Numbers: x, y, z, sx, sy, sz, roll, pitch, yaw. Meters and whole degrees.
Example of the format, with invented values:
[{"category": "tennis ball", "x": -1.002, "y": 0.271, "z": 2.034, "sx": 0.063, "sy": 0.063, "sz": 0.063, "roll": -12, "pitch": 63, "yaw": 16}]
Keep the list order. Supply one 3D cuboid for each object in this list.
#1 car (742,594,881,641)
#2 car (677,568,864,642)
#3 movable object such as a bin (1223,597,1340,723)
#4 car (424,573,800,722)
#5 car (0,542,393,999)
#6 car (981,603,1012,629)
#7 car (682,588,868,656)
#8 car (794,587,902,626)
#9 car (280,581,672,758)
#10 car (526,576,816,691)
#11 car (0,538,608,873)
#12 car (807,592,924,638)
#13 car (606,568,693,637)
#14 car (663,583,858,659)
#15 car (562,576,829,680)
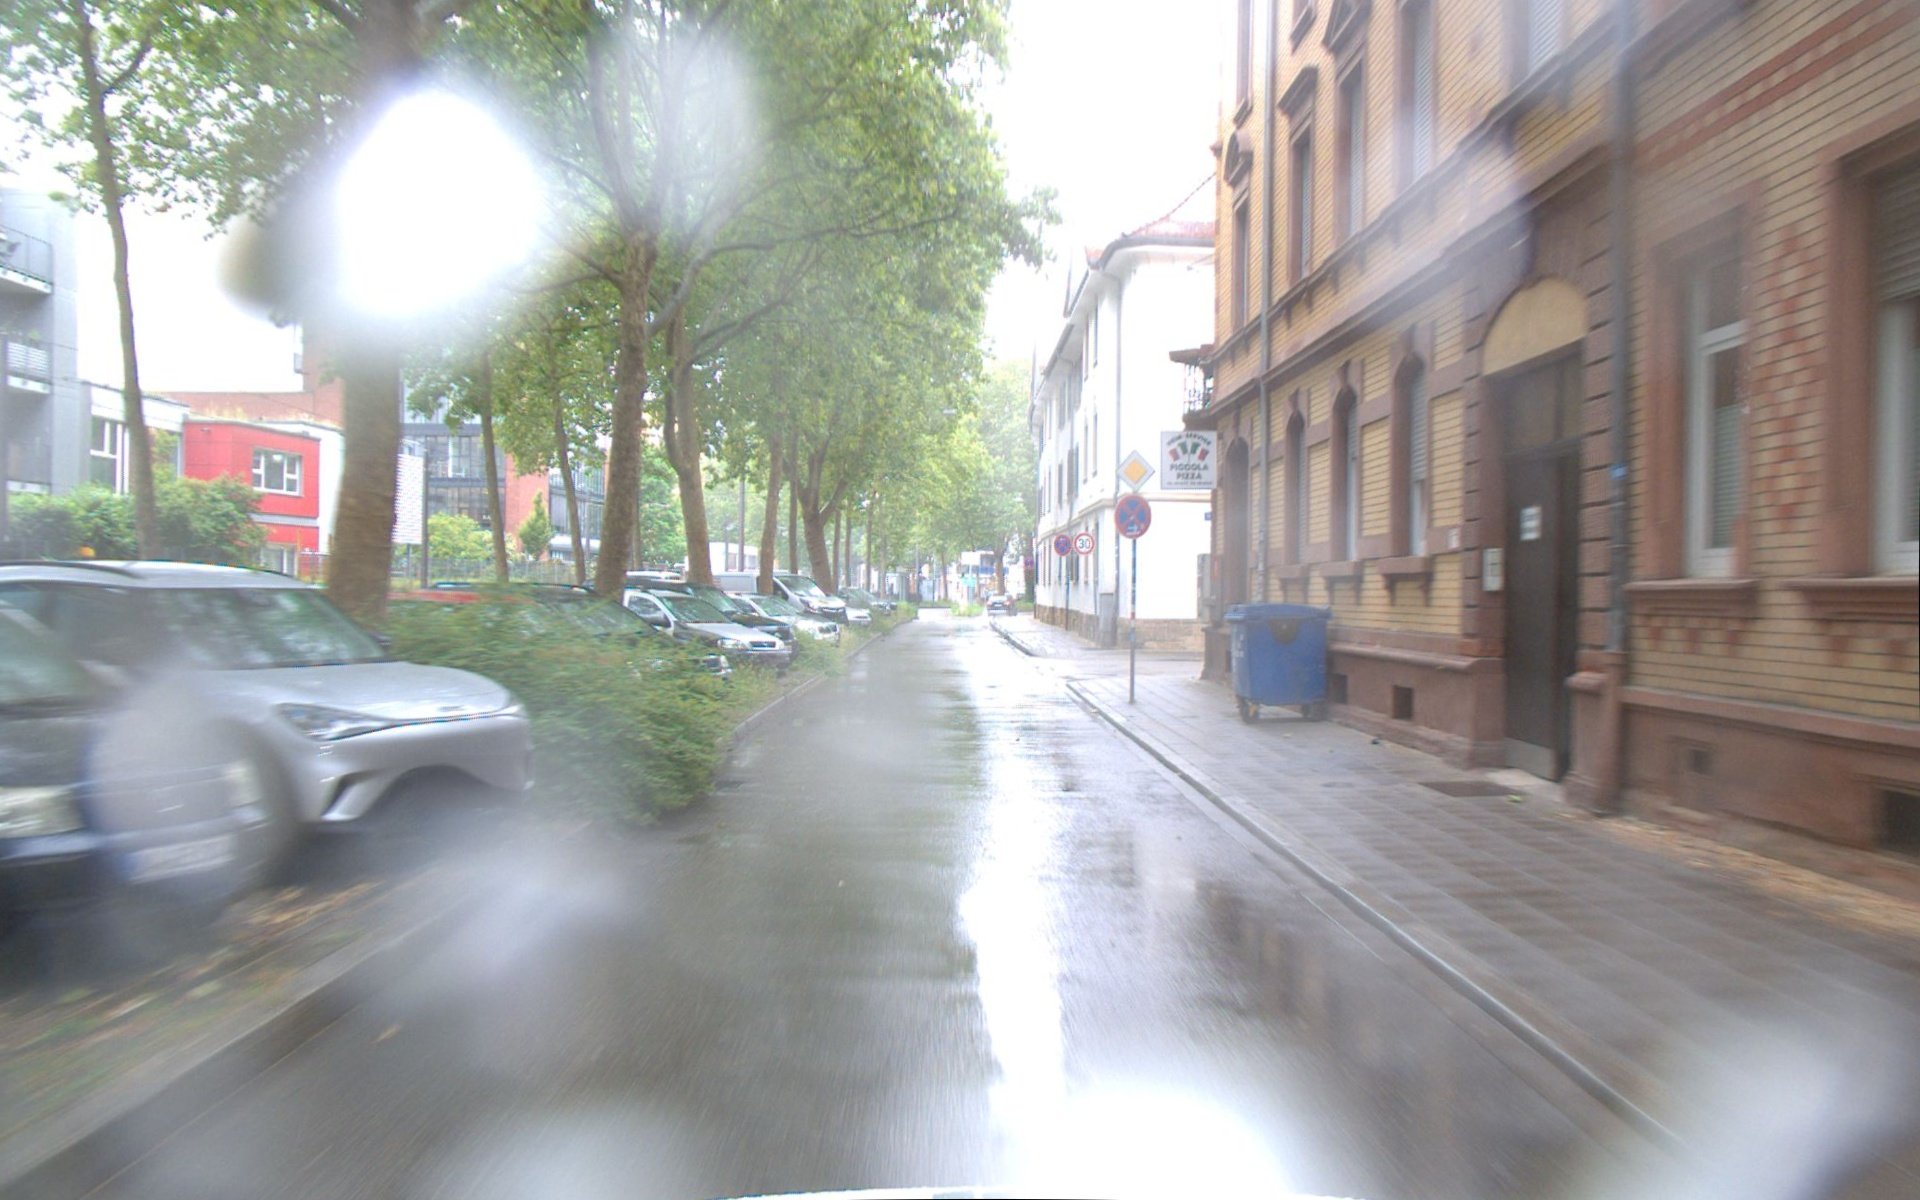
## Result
[{"category": "car", "x": -4.989, "y": 0.595, "z": 55.406, "sx": 4.461, "sy": 1.508, "sz": 1.772, "roll": -1, "pitch": 0, "yaw": 30}, {"category": "car", "x": -5.410, "y": 0.154, "z": 46.984, "sx": 5.020, "sy": 2.012, "sz": 2.099, "roll": -1, "pitch": 0, "yaw": 30}, {"category": "movable object such as a bin", "x": 3.685, "y": 0.665, "z": 19.079, "sx": 1.000, "sy": 1.324, "sz": 1.367, "roll": -3, "pitch": 1, "yaw": -1}, {"category": "car", "x": -4.089, "y": 0.482, "z": 19.343, "sx": 4.135, "sy": 1.505, "sz": 1.742, "roll": 2, "pitch": 1, "yaw": 27}, {"category": "car", "x": -4.274, "y": 0.547, "z": 6.788, "sx": 3.427, "sy": 1.493, "sz": 1.643, "roll": 0, "pitch": 1, "yaw": 21}, {"category": "car", "x": 2.482, "y": 1.083, "z": 113.038, "sx": 1.953, "sy": 1.668, "sz": 3.999, "roll": 1, "pitch": 0, "yaw": -1}, {"category": "car", "x": -4.488, "y": 0.502, "z": 40.056, "sx": 4.218, "sy": 1.462, "sz": 1.746, "roll": 2, "pitch": 1, "yaw": 26}, {"category": "car", "x": -4.935, "y": 0.276, "z": 72.636, "sx": 4.371, "sy": 1.625, "sz": 1.922, "roll": 1, "pitch": 1, "yaw": 26}, {"category": "car", "x": -4.812, "y": 0.599, "z": 16.368, "sx": 3.574, "sy": 1.505, "sz": 1.740, "roll": 2, "pitch": 1, "yaw": 30}, {"category": "car", "x": -4.598, "y": 0.527, "z": 26.160, "sx": 4.322, "sy": 1.674, "sz": 1.868, "roll": -1, "pitch": 0, "yaw": 31}, {"category": "car", "x": -4.182, "y": 0.448, "z": 9.608, "sx": 3.976, "sy": 1.564, "sz": 1.832, "roll": 2, "pitch": 1, "yaw": 30}, {"category": "car", "x": -3.301, "y": 0.516, "z": 57.507, "sx": 3.735, "sy": 1.547, "sz": 1.719, "roll": -1, "pitch": 0, "yaw": 31}, {"category": "car", "x": -9.653, "y": 0.042, "z": 51.742, "sx": 1.997, "sy": 2.034, "sz": 5.156, "roll": 1, "pitch": 1, "yaw": -3}, {"category": "car", "x": -4.448, "y": 0.433, "z": 36.882, "sx": 3.974, "sy": 1.525, "sz": 1.747, "roll": 1, "pitch": 1, "yaw": 23}, {"category": "car", "x": -4.632, "y": 0.434, "z": 28.884, "sx": 4.318, "sy": 1.689, "sz": 1.927, "roll": 0, "pitch": 1, "yaw": 27}]
